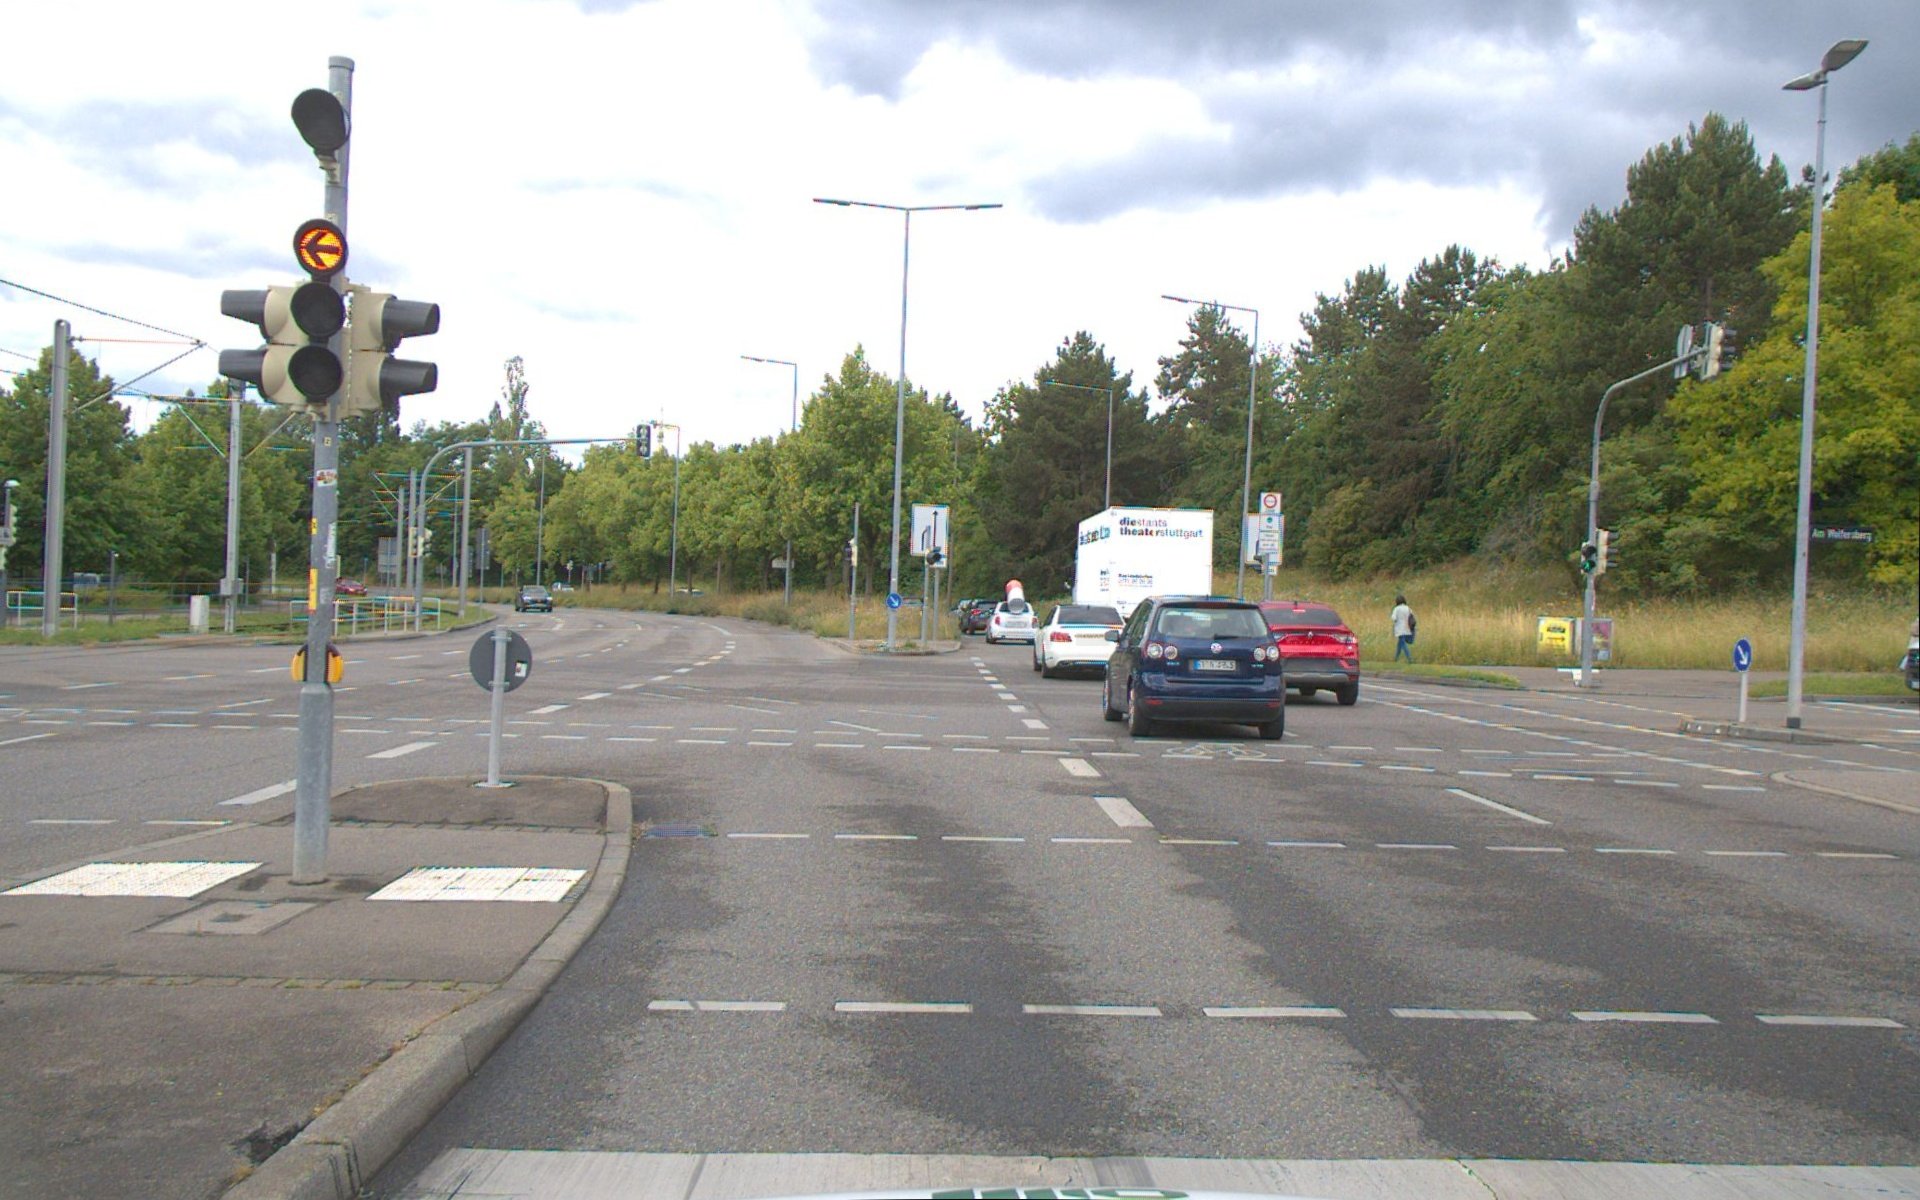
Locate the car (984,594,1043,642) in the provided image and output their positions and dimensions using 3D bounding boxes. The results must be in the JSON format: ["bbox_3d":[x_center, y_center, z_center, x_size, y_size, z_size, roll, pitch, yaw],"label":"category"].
[{"bbox_3d":[1.796,0.606,56.625,1.784,1.532,3.493,1,0,-2],"label":"car"}]

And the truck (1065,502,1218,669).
[{"bbox_3d":[4.700,-0.402,44.969,2.746,3.971,10.179,1,1,-1],"label":"truck"}]

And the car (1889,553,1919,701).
[{"bbox_3d":[20.305,0.540,30.063,5.685,2.676,2.000,1,-1,1],"label":"car"}]

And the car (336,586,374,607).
[{"bbox_3d":[-53.558,-0.338,146.391,1.860,1.823,3.940,1,-1,-41],"label":"car"}]

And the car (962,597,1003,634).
[{"bbox_3d":[0.947,0.645,71.932,1.591,1.519,3.836,1,0,-2],"label":"car"}]

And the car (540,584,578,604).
[{"bbox_3d":[-35.781,-0.556,147.478,1.620,1.741,3.742,1,-1,-44],"label":"car"}]

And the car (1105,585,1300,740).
[{"bbox_3d":[2.764,0.675,19.636,1.631,1.626,3.995,1,0,-1],"label":"car"}]

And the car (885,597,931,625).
[{"bbox_3d":[-2.986,0.611,94.206,1.717,1.534,4.032,1,0,-15],"label":"car"}]

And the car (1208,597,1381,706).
[{"bbox_3d":[5.287,0.754,26.704,1.809,1.556,4.376,1,0,-1],"label":"car"}]

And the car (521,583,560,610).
[{"bbox_3d":[-25.877,-0.201,101.990,1.770,1.615,3.973,1,0,-22],"label":"car"}]

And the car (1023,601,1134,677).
[{"bbox_3d":[2.375,0.770,34.087,1.764,1.436,4.315,1,0,-3],"label":"car"}]

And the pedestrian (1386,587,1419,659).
[{"bbox_3d":[10.589,0.551,39.573,0.630,1.691,0.714,1,-1,6],"label":"pedestrian"}]

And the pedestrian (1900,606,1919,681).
[{"bbox_3d":[21.053,0.954,36.377,0.632,1.640,0.712,1,-1,29],"label":"pedestrian"}]
